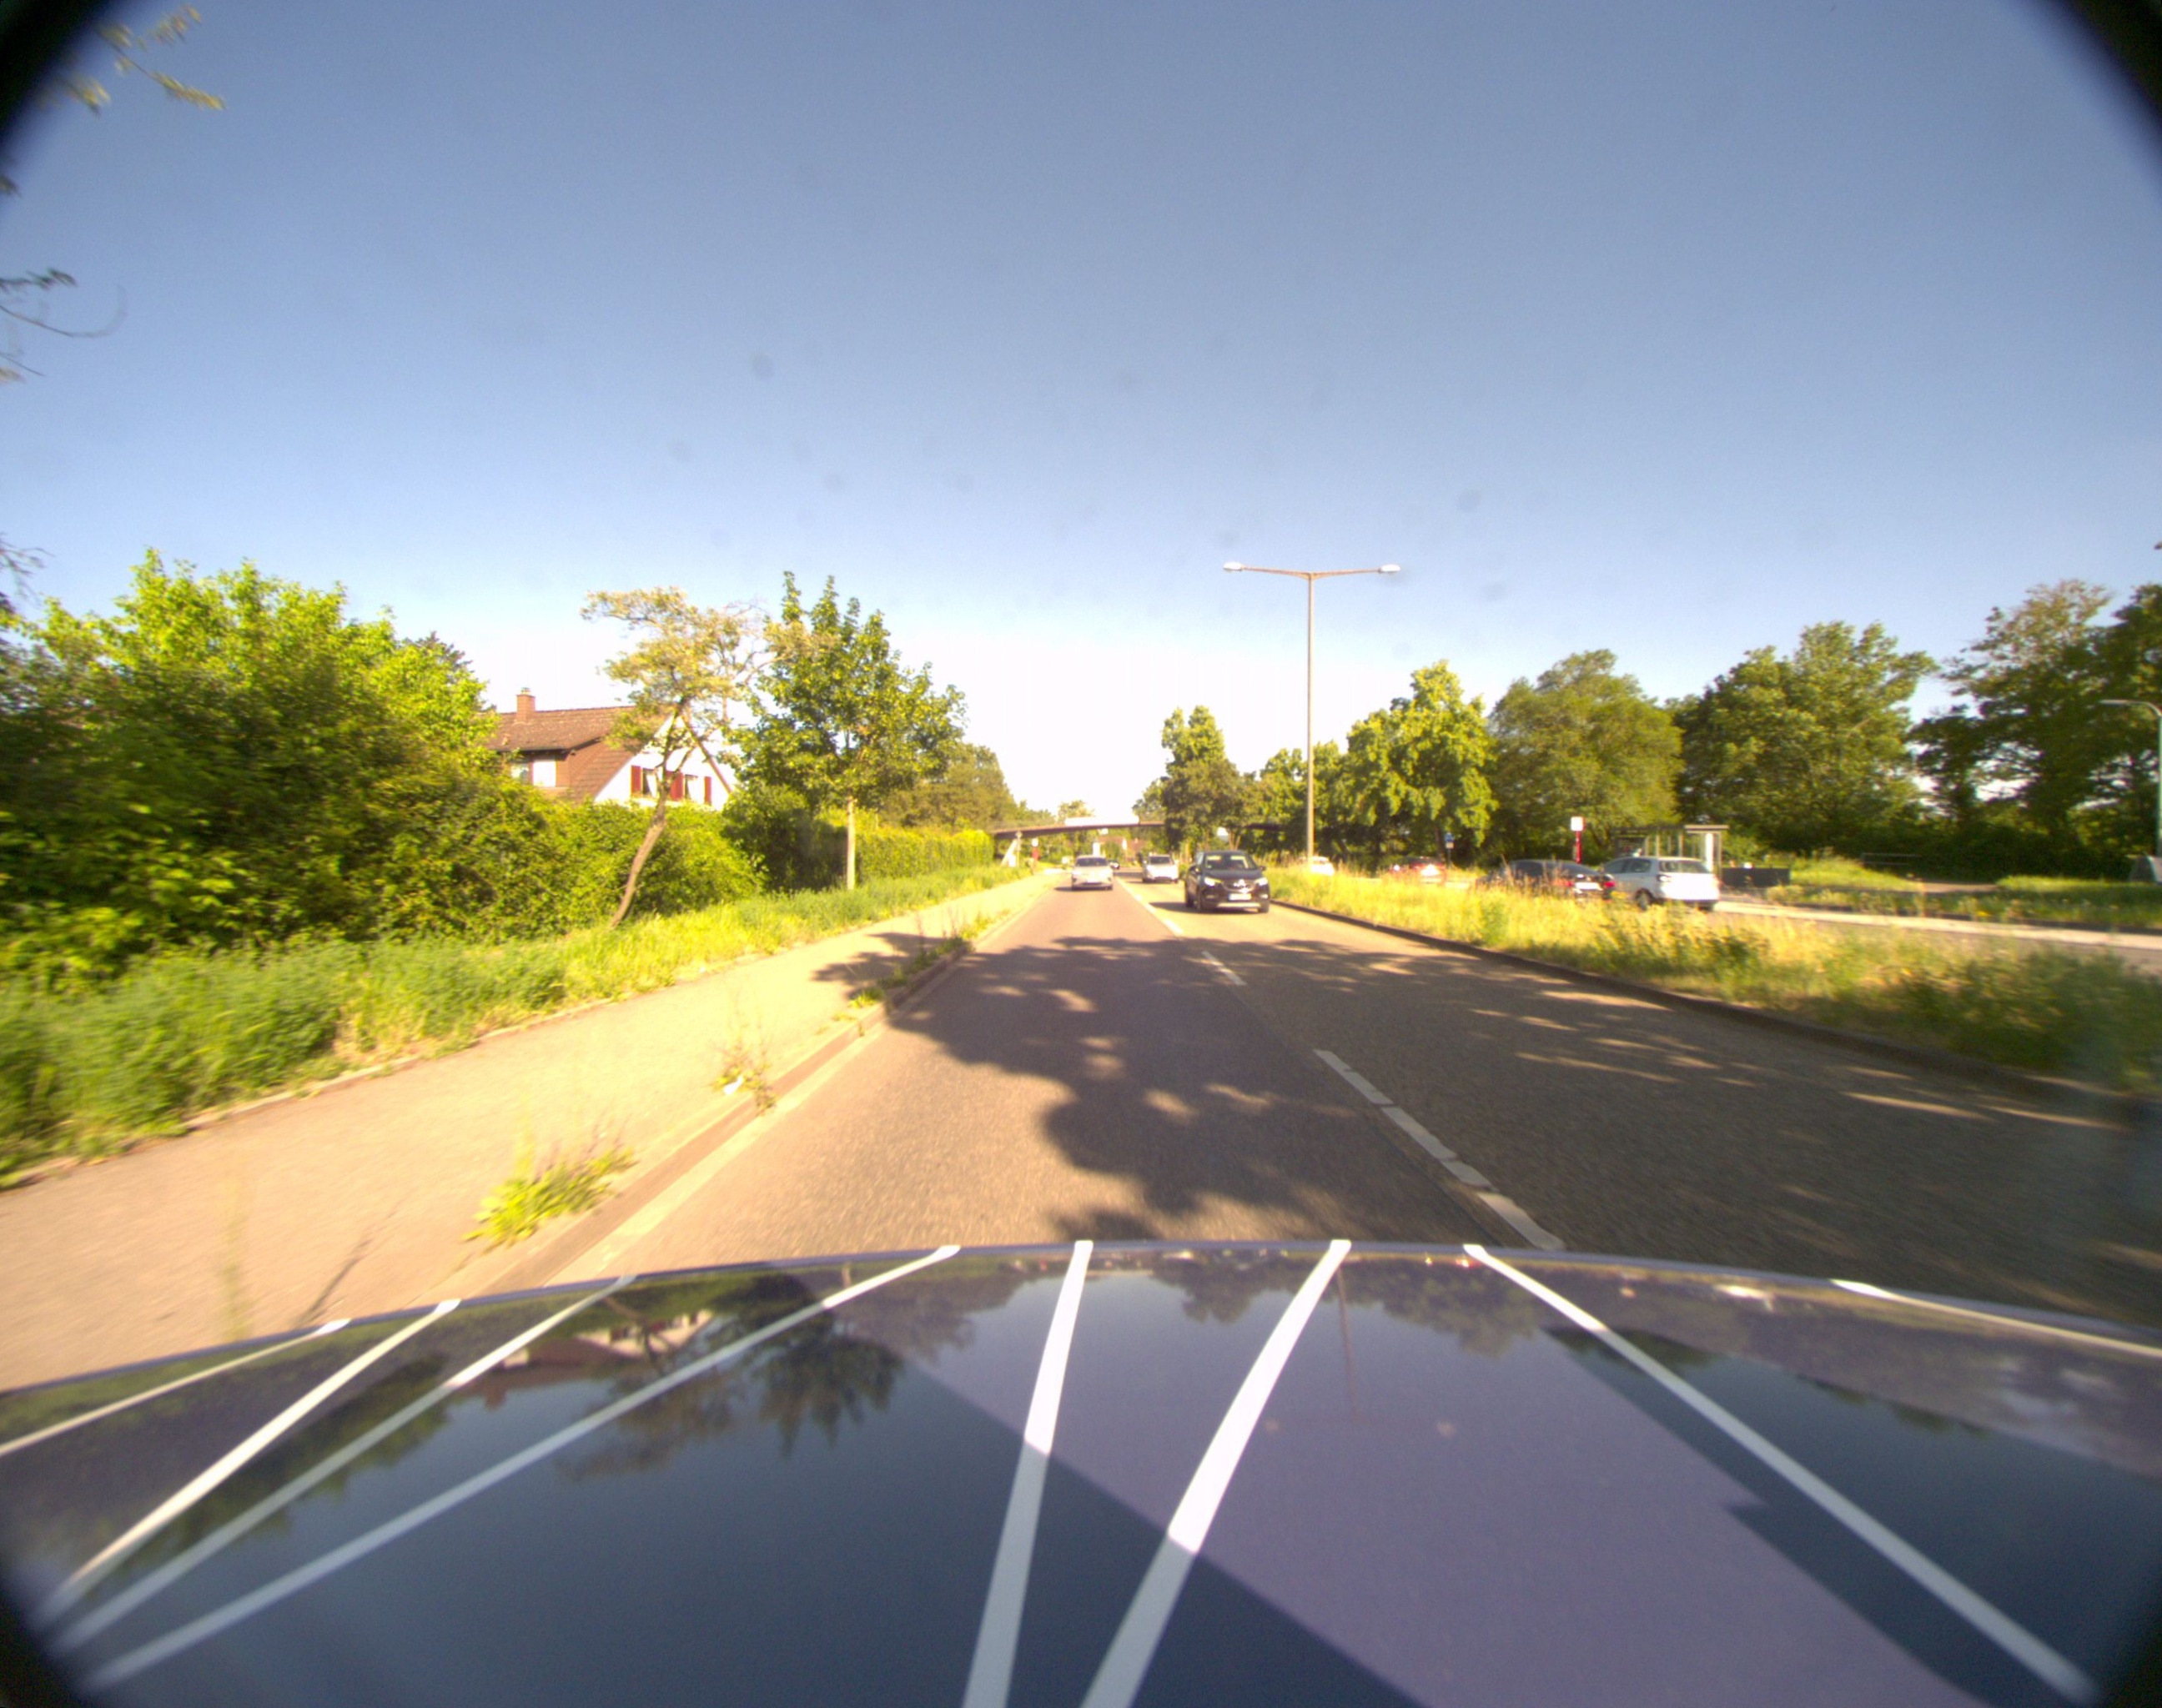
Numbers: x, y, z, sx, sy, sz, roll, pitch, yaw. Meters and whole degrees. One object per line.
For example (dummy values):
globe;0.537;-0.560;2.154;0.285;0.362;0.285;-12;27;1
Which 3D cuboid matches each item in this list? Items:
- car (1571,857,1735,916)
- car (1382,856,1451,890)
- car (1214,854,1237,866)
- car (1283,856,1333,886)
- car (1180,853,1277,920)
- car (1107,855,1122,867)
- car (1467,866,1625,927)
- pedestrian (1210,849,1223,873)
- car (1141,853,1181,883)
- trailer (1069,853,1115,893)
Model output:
car;16.284;0.859;21.924;1.717;1.463;4.064;1;0;2
car;16.803;0.928;38.244;1.608;1.554;4.000;2;0;0
car;16.605;0.676;87.414;1.786;1.353;4.979;0;0;0
car;12.951;0.945;43.596;1.717;1.593;4.359;0;0;2
car;3.872;0.785;20.644;1.811;1.605;4.514;0;0;1
car;4.557;0.934;103.126;1.823;1.587;4.273;-1;0;1
car;12.235;1.057;20.342;1.706;1.387;4.250;0;0;1
pedestrian;9.447;0.473;52.987;0.631;1.686;0.945;0;0;32
car;4.395;0.747;42.293;1.823;1.553;4.647;-1;-1;2
trailer;0.492;0.800;34.041;1.897;1.586;4.000;-1;1;1
